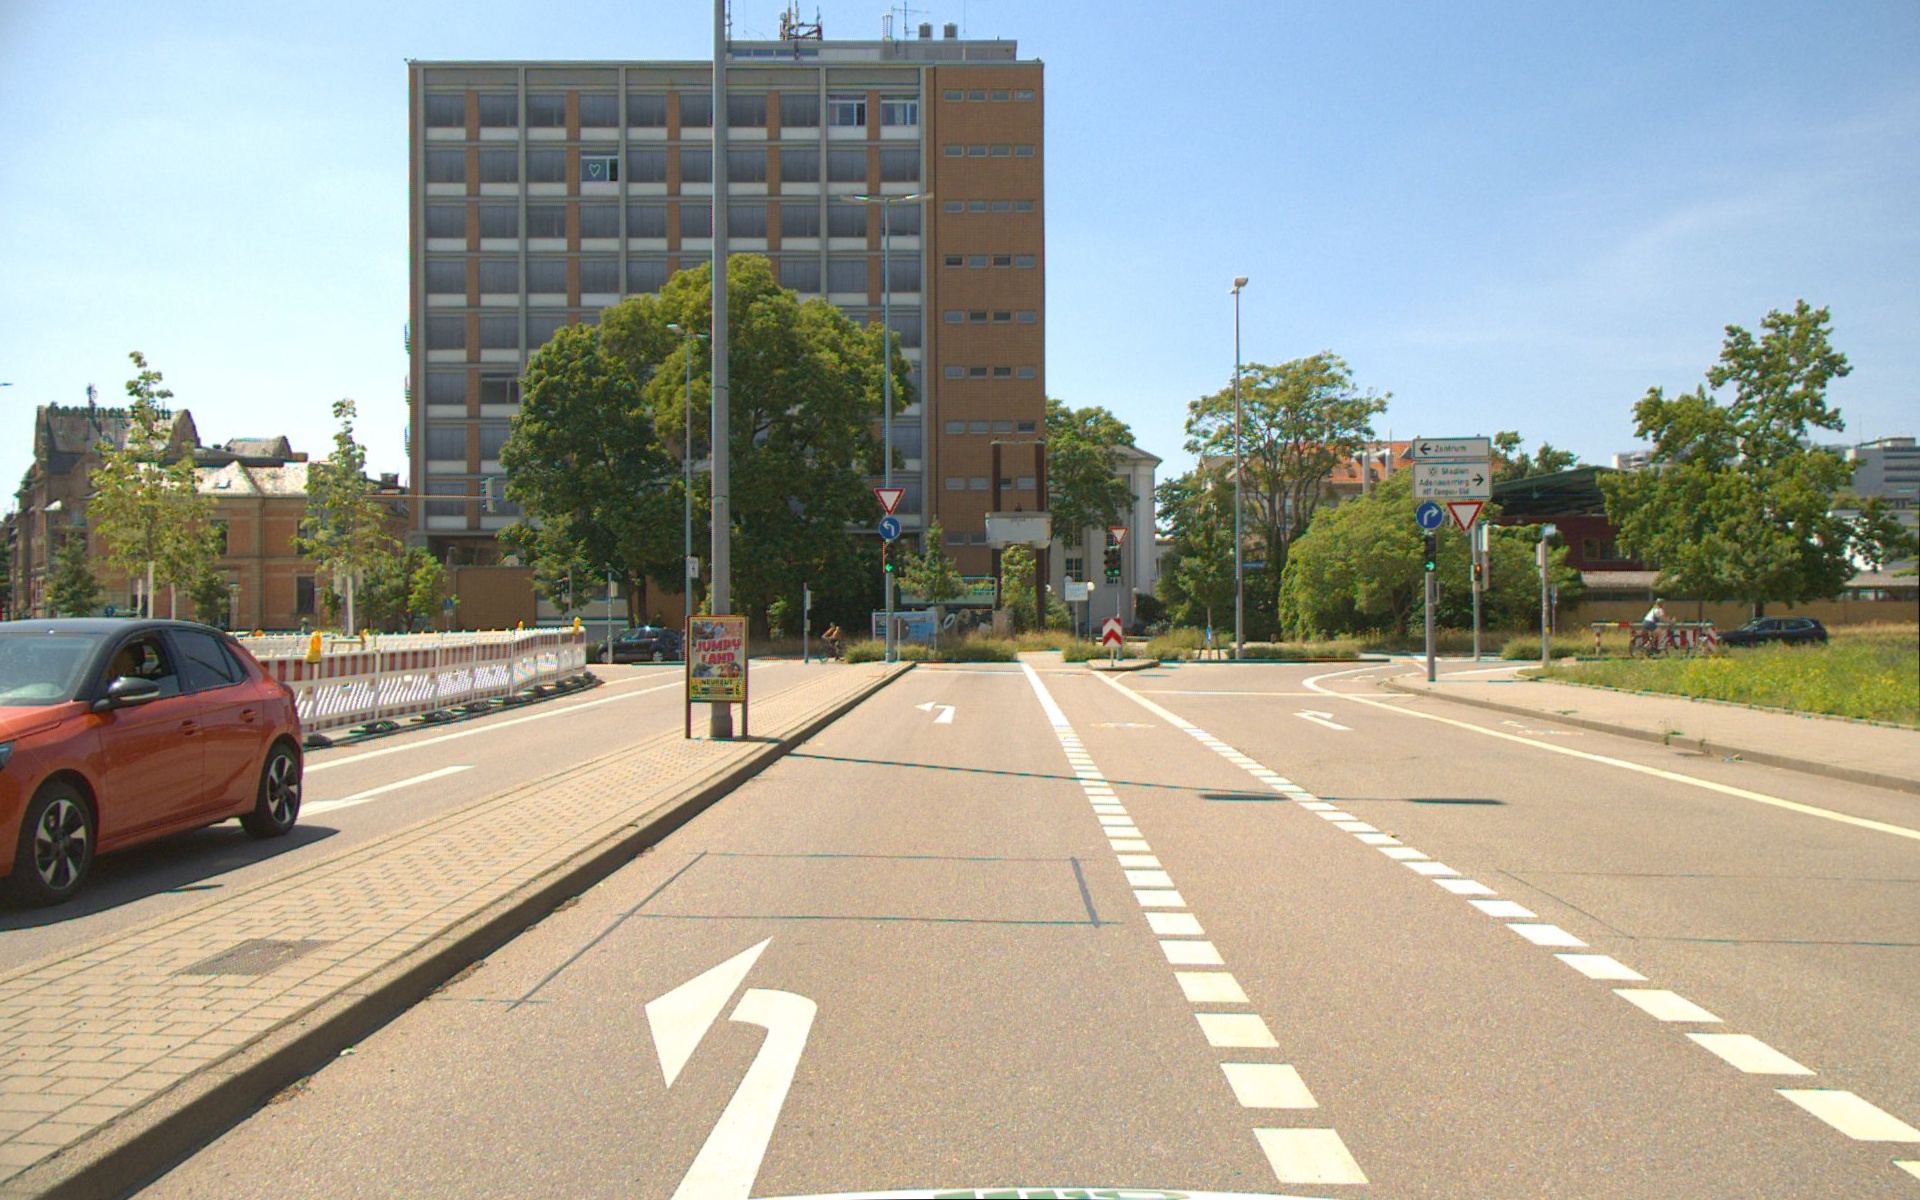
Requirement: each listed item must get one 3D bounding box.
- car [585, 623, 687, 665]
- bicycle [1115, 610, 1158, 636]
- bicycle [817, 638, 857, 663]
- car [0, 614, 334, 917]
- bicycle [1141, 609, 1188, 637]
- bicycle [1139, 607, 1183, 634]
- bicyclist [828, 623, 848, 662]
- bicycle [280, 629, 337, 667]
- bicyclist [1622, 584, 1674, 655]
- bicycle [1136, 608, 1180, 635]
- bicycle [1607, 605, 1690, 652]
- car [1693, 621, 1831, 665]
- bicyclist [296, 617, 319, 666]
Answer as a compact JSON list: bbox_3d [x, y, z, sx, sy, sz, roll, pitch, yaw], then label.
[{"bbox_3d":[-13.093,1.754,66.925,3.682,1.579,1.620,1,-1,13],"label":"car"},{"bbox_3d":[14.401,1.894,135.124,3.375,2.049,0.760,1,-1,3],"label":"bicycle"},{"bbox_3d":[-5.581,2.278,74.911,0.549,1.063,1.985,0,1,42],"label":"bicycle"},{"bbox_3d":[-5.248,0.826,9.496,1.653,1.402,4.014,-2,-1,1],"label":"car"},{"bbox_3d":[15.285,1.723,123.468,3.375,2.049,0.760,1,-1,3],"label":"bicycle"},{"bbox_3d":[15.927,1.642,130.932,3.375,2.049,0.760,1,-1,3],"label":"bicycle"},{"bbox_3d":[-5.531,1.921,74.984,0.542,1.746,0.699,1,0,42],"label":"bicyclist"},{"bbox_3d":[-21.665,1.595,55.024,1.852,1.201,0.524,-2,-2,18],"label":"bicycle"},{"bbox_3d":[19.098,0.541,45.897,1.113,1.920,0.708,2,-1,-8],"label":"bicyclist"},{"bbox_3d":[15.453,1.673,129.198,3.375,2.049,0.760,1,-1,3],"label":"bicycle"},{"bbox_3d":[19.105,0.793,45.883,2.143,1.259,0.520,2,-1,-7],"label":"bicycle"},{"bbox_3d":[30.905,1.666,63.816,4.444,1.614,1.710,-1,-1,7],"label":"car"},{"bbox_3d":[-21.720,1.385,55.050,0.486,1.607,0.531,-2,-2,18],"label":"bicyclist"}]
